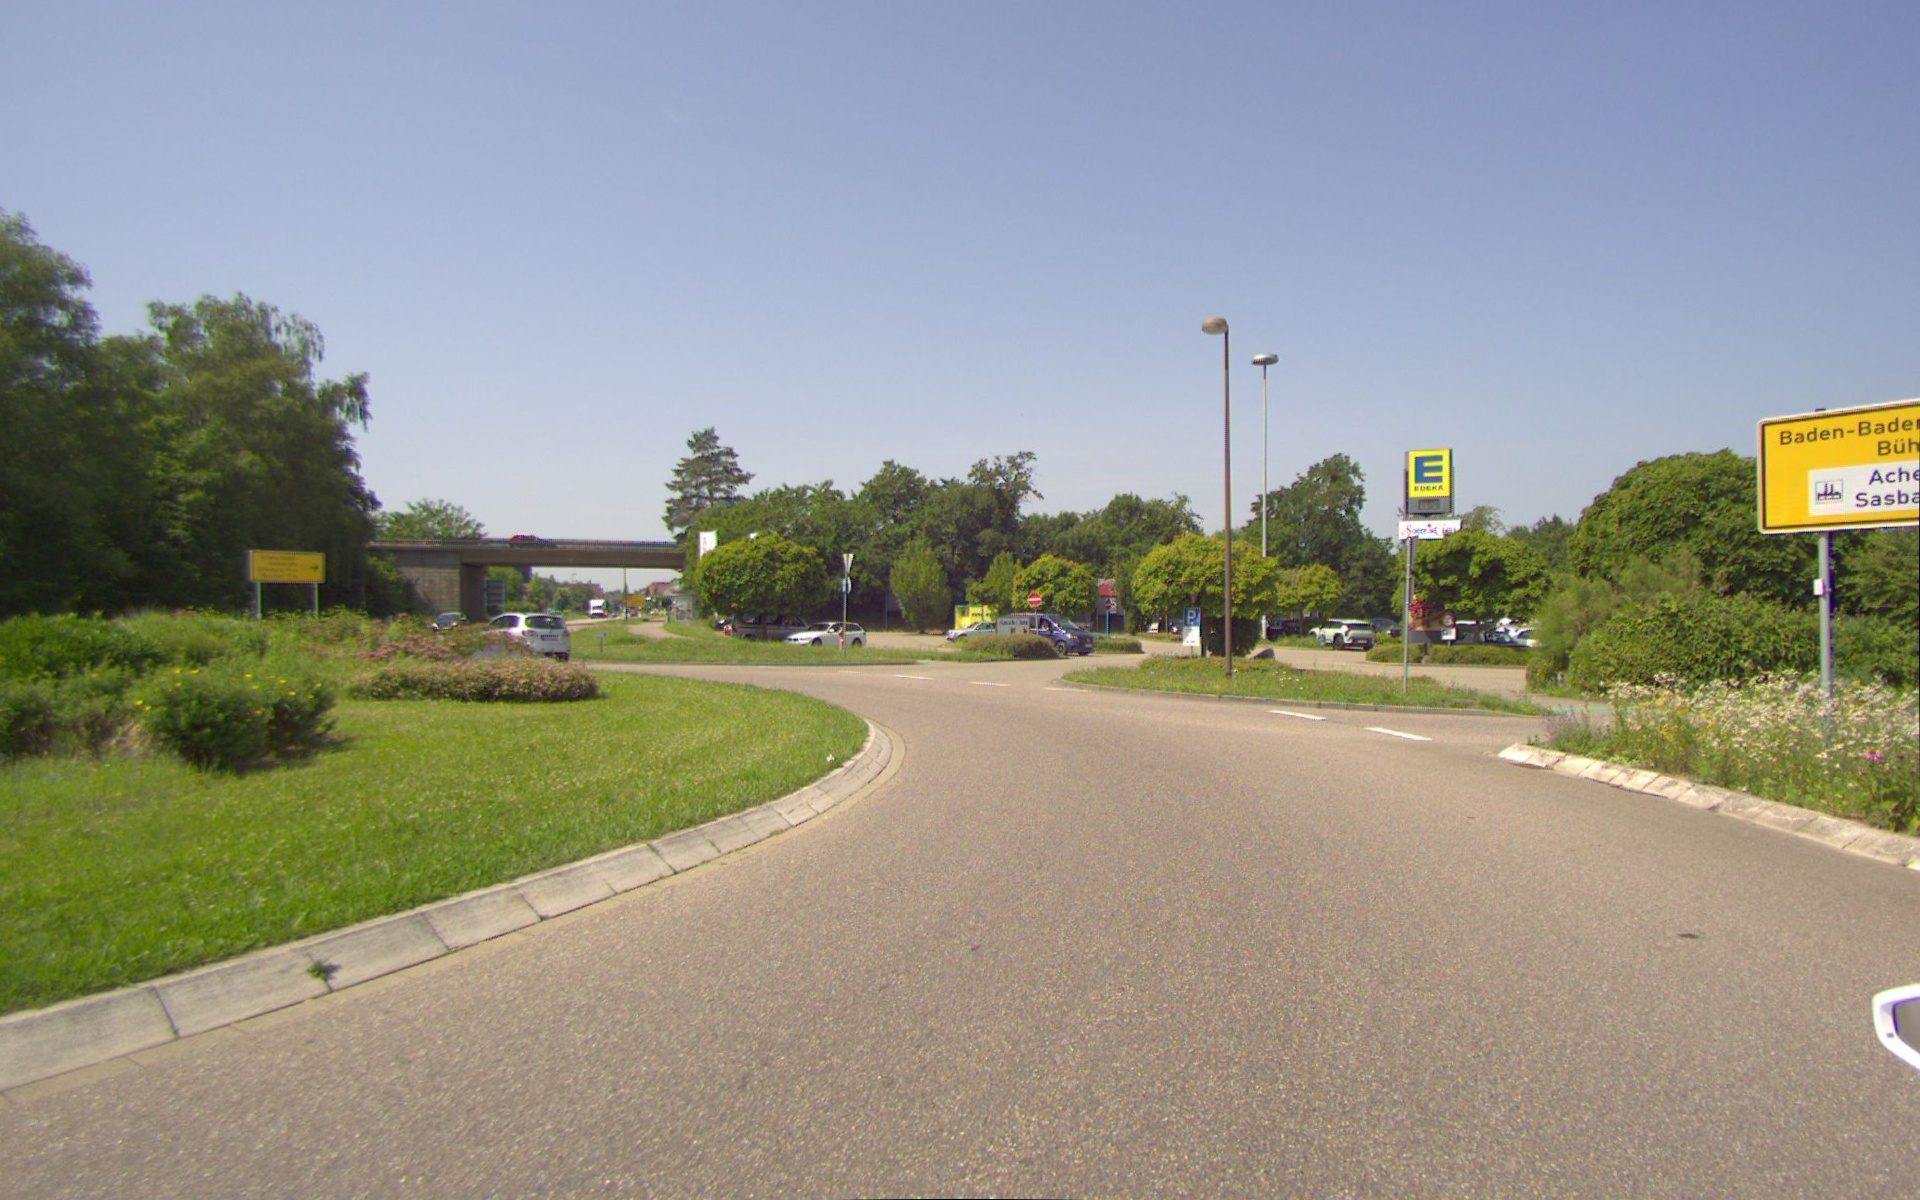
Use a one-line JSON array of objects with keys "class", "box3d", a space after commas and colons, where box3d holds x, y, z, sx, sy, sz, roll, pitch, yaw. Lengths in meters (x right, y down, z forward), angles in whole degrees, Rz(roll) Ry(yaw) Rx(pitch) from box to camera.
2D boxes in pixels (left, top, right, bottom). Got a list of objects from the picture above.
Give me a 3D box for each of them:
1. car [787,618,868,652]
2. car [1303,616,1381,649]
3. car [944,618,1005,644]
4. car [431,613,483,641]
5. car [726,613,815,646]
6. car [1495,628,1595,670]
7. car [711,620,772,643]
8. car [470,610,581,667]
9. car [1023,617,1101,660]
[{"class": "car", "box3d": [-6.446, 1.685, 49.258, 1.556, 1.517, 4.559, 2, 0, 28]}, {"class": "car", "box3d": [19.998, 1.683, 52.809, 1.944, 1.537, 3.990, 1, 0, -12]}, {"class": "car", "box3d": [0.864, 1.889, 61.384, 3.416, 1.399, 1.599, 2, 1, -14]}, {"class": "car", "box3d": [-33.760, 1.799, 67.536, 1.994, 1.674, 4.626, 1, 1, -13]}, {"class": "car", "box3d": [-9.908, 1.549, 52.367, 4.338, 1.582, 1.868, 1, 1, -19]}, {"class": "car", "box3d": [24.912, 2.054, 42.945, 1.960, 1.595, 4.000, 2, -1, 0]}, {"class": "car", "box3d": [-17.131, 2.483, 78.532, 4.561, 1.674, 2.022, 1, 1, -15]}, {"class": "car", "box3d": [-13.949, 1.175, 32.149, 3.942, 1.573, 1.782, 2, 1, 42]}, {"class": "car", "box3d": [4.730, 1.777, 47.295, 1.972, 1.818, 3.977, 1, 1, -23]}]
